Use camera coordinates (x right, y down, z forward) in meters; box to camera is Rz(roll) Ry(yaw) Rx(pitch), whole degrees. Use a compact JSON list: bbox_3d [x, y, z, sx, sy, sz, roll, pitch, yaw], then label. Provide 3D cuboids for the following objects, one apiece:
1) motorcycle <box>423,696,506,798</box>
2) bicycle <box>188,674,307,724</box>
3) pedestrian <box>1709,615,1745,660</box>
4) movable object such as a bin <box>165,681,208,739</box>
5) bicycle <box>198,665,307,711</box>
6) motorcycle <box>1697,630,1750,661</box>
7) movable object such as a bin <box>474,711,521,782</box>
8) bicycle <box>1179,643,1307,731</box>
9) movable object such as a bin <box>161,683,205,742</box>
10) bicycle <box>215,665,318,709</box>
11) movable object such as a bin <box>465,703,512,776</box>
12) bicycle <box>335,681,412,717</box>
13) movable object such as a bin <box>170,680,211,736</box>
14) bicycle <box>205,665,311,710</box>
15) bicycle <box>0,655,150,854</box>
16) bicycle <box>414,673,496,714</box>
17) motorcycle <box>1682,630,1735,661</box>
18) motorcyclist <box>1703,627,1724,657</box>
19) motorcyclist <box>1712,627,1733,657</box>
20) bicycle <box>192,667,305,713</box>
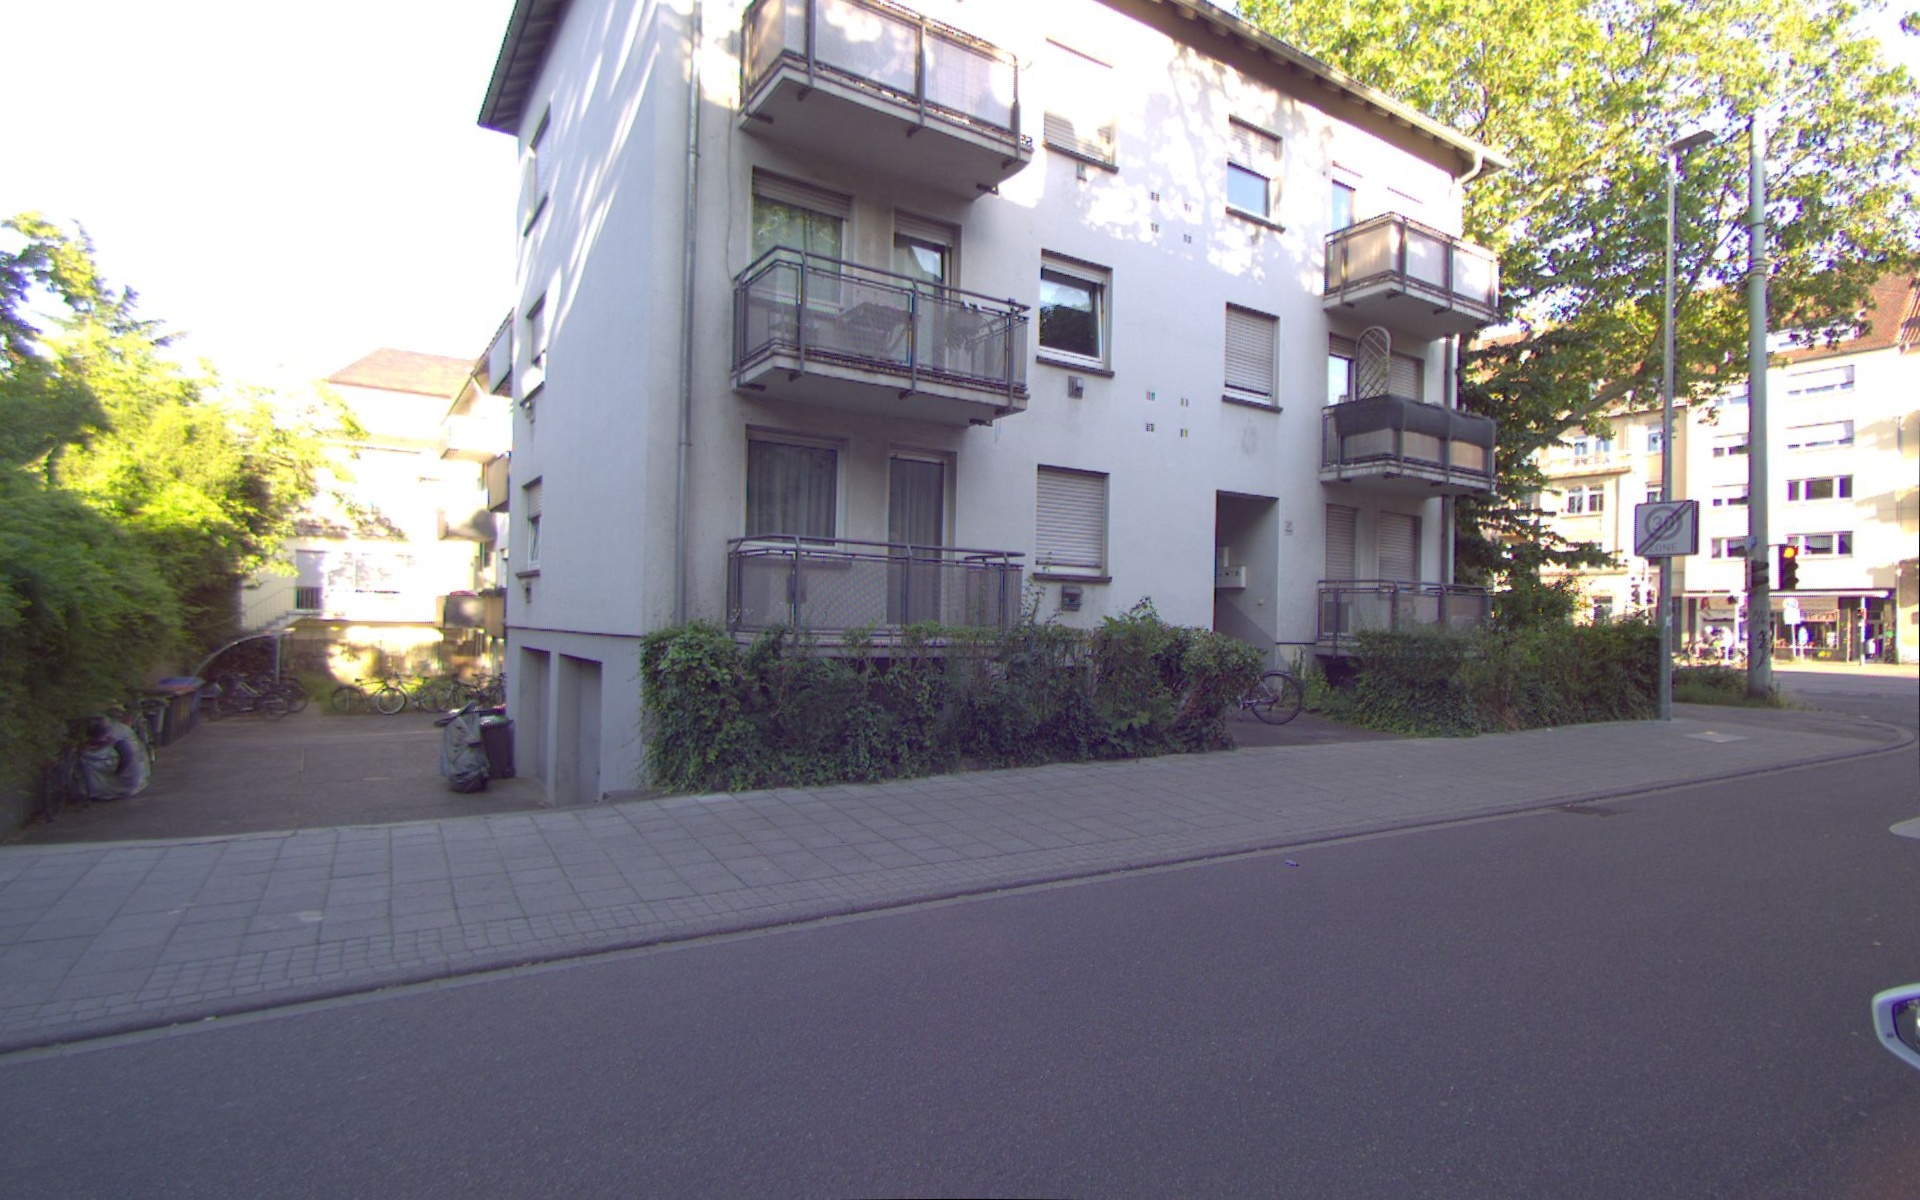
[{"bbox_3d":[-7.417,2.153,15.003,0.739,1.313,1.563,2,-2,-41],"label":"motorcycle"},{"bbox_3d":[-17.349,2.386,24.521,2.268,1.148,0.689,2,-4,-30],"label":"bicycle"},{"bbox_3d":[43.668,2.136,57.196,1.049,2.497,1.338,1,0,-34],"label":"pedestrian"},{"bbox_3d":[-15.943,2.260,20.719,0.606,1.129,0.795,1,-3,-33],"label":"movable object such as a bin"},{"bbox_3d":[-19.039,2.354,27.086,2.311,1.192,0.689,2,-4,-30],"label":"bicycle"},{"bbox_3d":[37.677,2.255,49.597,0.562,1.471,2.021,1,-1,-33],"label":"motorcycle"},{"bbox_3d":[-7.413,2.329,16.086,0.606,1.051,0.534,1,-3,-34],"label":"movable object such as a bin"},{"bbox_3d":[3.816,1.152,13.567,1.590,1.022,0.517,3,1,20],"label":"bicycle"},{"bbox_3d":[-15.502,2.228,20.049,0.606,1.129,0.795,1,-3,-33],"label":"movable object such as a bin"},{"bbox_3d":[-19.656,2.454,28.536,2.311,1.192,0.689,2,-4,-30],"label":"bicycle"},{"bbox_3d":[-7.929,2.330,16.898,0.606,1.129,0.795,1,-3,-33],"label":"movable object such as a bin"},{"bbox_3d":[-15.579,2.629,26.741,1.734,0.890,0.561,2,-4,-30],"label":"bicycle"},{"bbox_3d":[-16.375,2.290,21.381,0.606,1.129,0.795,1,-3,-33],"label":"movable object such as a bin"},{"bbox_3d":[-19.385,2.403,27.811,2.311,1.192,0.689,2,-4,-30],"label":"bicycle"},{"bbox_3d":[-10.614,1.657,11.975,0.961,1.917,4.156,1,-2,-32],"label":"bicycle"},{"bbox_3d":[-13.925,2.577,27.741,1.982,1.085,0.561,2,-4,-30],"label":"bicycle"},{"bbox_3d":[36.629,2.195,49.151,0.562,1.471,2.021,1,-1,-33],"label":"motorcycle"},{"bbox_3d":[36.746,2.045,48.963,0.562,1.471,0.677,1,-1,-33],"label":"motorcyclist"},{"bbox_3d":[37.674,2.079,49.605,0.562,1.471,0.677,1,-1,-33],"label":"motorcyclist"},{"bbox_3d":[-18.613,2.328,26.340,2.311,1.148,0.689,2,-4,-30],"label":"bicycle"}]
